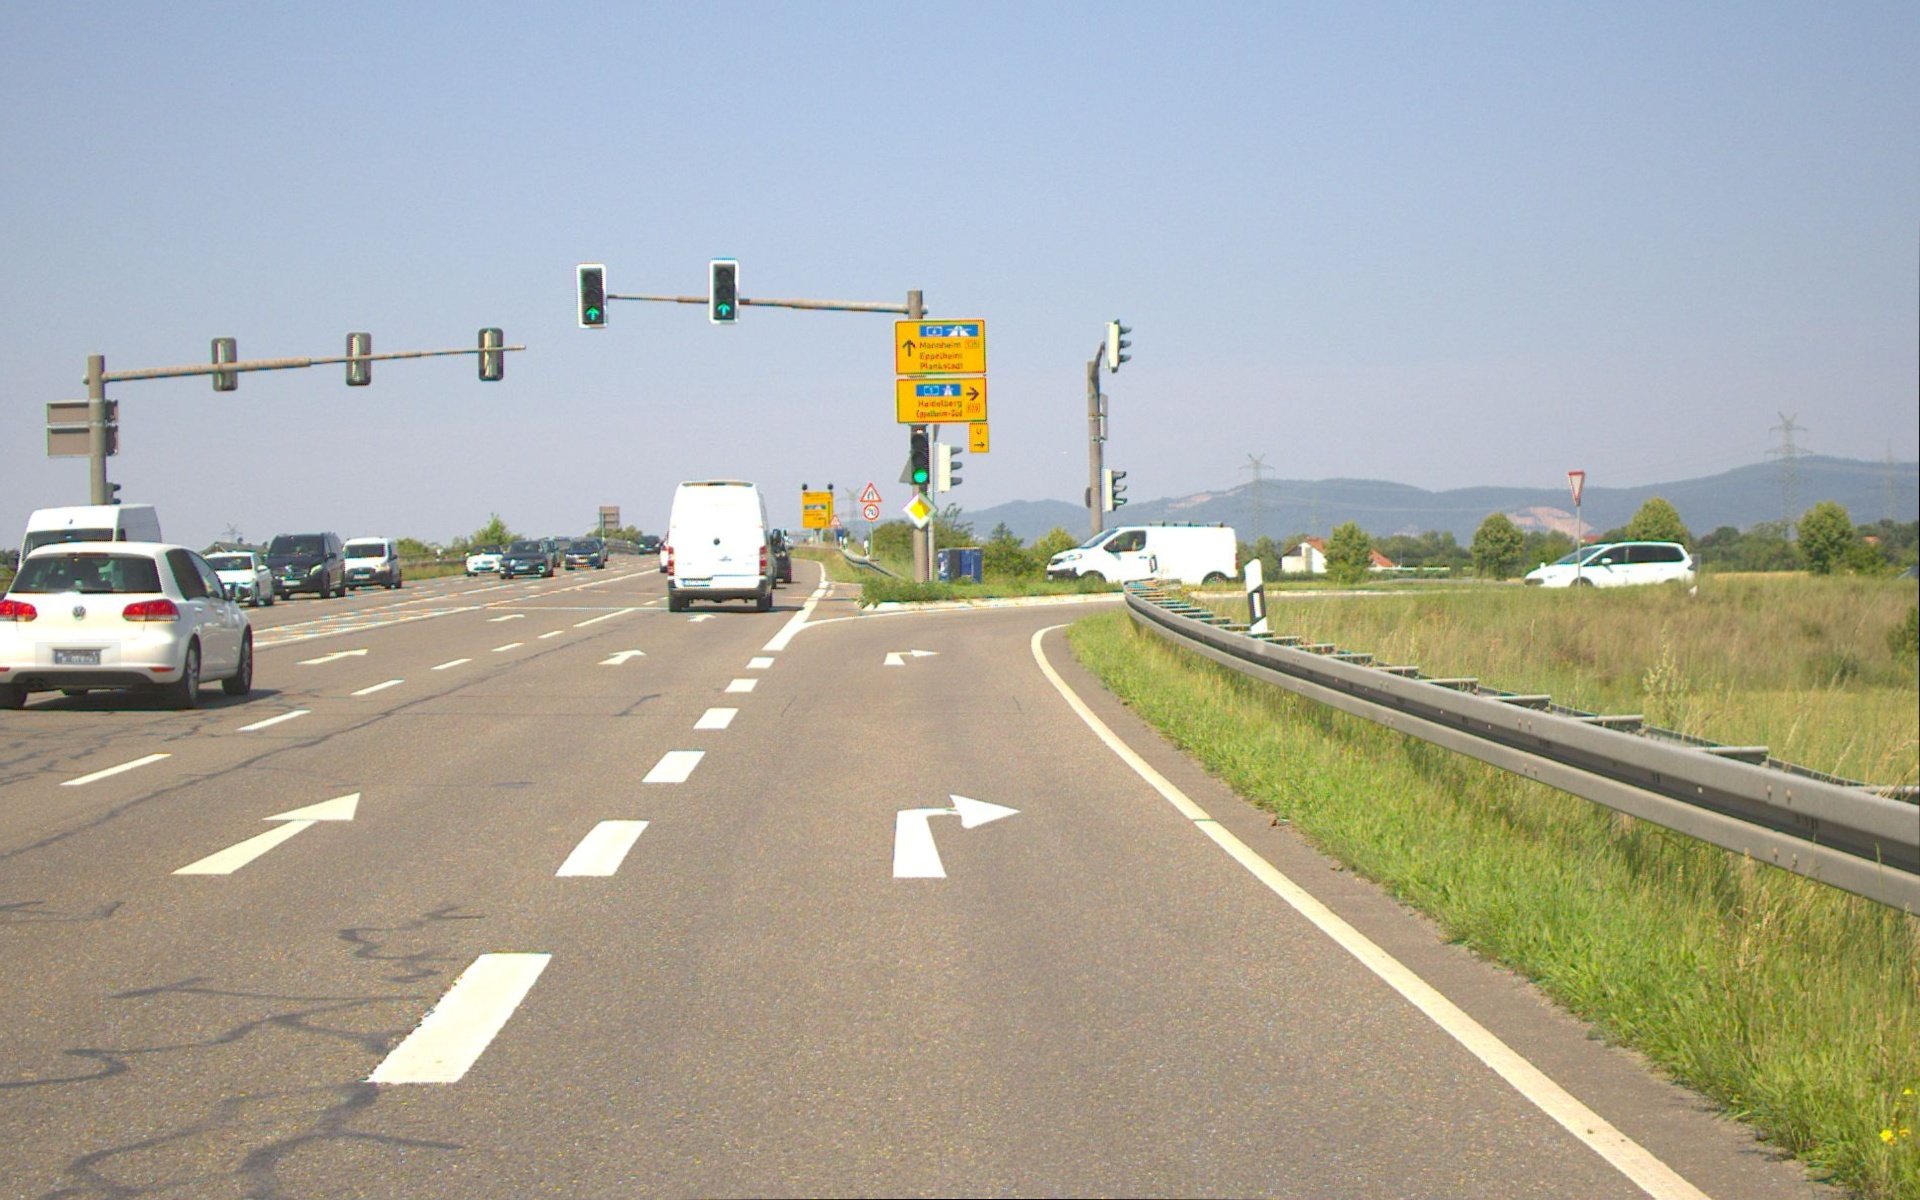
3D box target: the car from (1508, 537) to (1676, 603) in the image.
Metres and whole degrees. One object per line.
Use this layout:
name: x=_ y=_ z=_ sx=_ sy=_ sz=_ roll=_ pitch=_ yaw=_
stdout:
car: x=16.894 y=-0.781 z=91.908 sx=3.986 sy=1.678 sz=2.000 roll=1 pitch=0 yaw=-25

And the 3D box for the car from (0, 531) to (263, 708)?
car: x=-7.649 y=0.131 z=31.499 sx=1.799 sy=1.503 sz=4.196 roll=0 pitch=1 yaw=-2

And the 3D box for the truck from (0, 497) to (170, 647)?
truck: x=-17.814 y=-0.535 z=69.992 sx=2.297 sy=2.947 sz=5.283 roll=0 pitch=0 yaw=0

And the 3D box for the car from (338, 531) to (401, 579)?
car: x=-20.032 y=-1.508 z=116.726 sx=1.602 sy=1.576 sz=3.332 roll=0 pitch=0 yaw=0

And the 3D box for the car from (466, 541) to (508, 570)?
car: x=-21.507 y=-2.003 z=156.452 sx=1.462 sy=1.269 sz=3.332 roll=0 pitch=0 yaw=0

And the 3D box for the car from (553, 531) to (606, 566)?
car: x=-18.574 y=-2.519 z=167.781 sx=1.993 sy=1.612 sz=4.000 roll=1 pitch=0 yaw=2

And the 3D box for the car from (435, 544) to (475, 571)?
car: x=-24.020 y=-2.015 z=163.638 sx=1.462 sy=1.269 sz=3.332 roll=0 pitch=0 yaw=0

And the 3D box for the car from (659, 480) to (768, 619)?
car: x=-4.905 y=-0.994 z=68.936 sx=1.993 sy=2.686 sz=4.970 roll=0 pitch=0 yaw=-2

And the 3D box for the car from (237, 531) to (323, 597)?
car: x=-19.739 y=-1.023 z=99.920 sx=1.873 sy=1.881 sz=3.332 roll=0 pitch=0 yaw=0

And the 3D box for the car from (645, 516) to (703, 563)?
car: x=-11.021 y=-2.329 z=132.731 sx=1.993 sy=1.697 sz=4.275 roll=1 pitch=0 yaw=-1

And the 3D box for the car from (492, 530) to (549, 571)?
car: x=-17.186 y=-1.924 z=134.580 sx=1.635 sy=1.481 sz=4.000 roll=1 pitch=0 yaw=1

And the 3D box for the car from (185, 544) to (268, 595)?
car: x=-18.936 y=-0.769 z=88.801 sx=1.462 sy=1.269 sz=3.332 roll=0 pitch=0 yaw=0

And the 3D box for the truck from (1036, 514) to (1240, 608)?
truck: x=4.572 y=-0.975 z=88.391 sx=4.842 sy=2.312 sz=2.001 roll=1 pitch=0 yaw=-16
